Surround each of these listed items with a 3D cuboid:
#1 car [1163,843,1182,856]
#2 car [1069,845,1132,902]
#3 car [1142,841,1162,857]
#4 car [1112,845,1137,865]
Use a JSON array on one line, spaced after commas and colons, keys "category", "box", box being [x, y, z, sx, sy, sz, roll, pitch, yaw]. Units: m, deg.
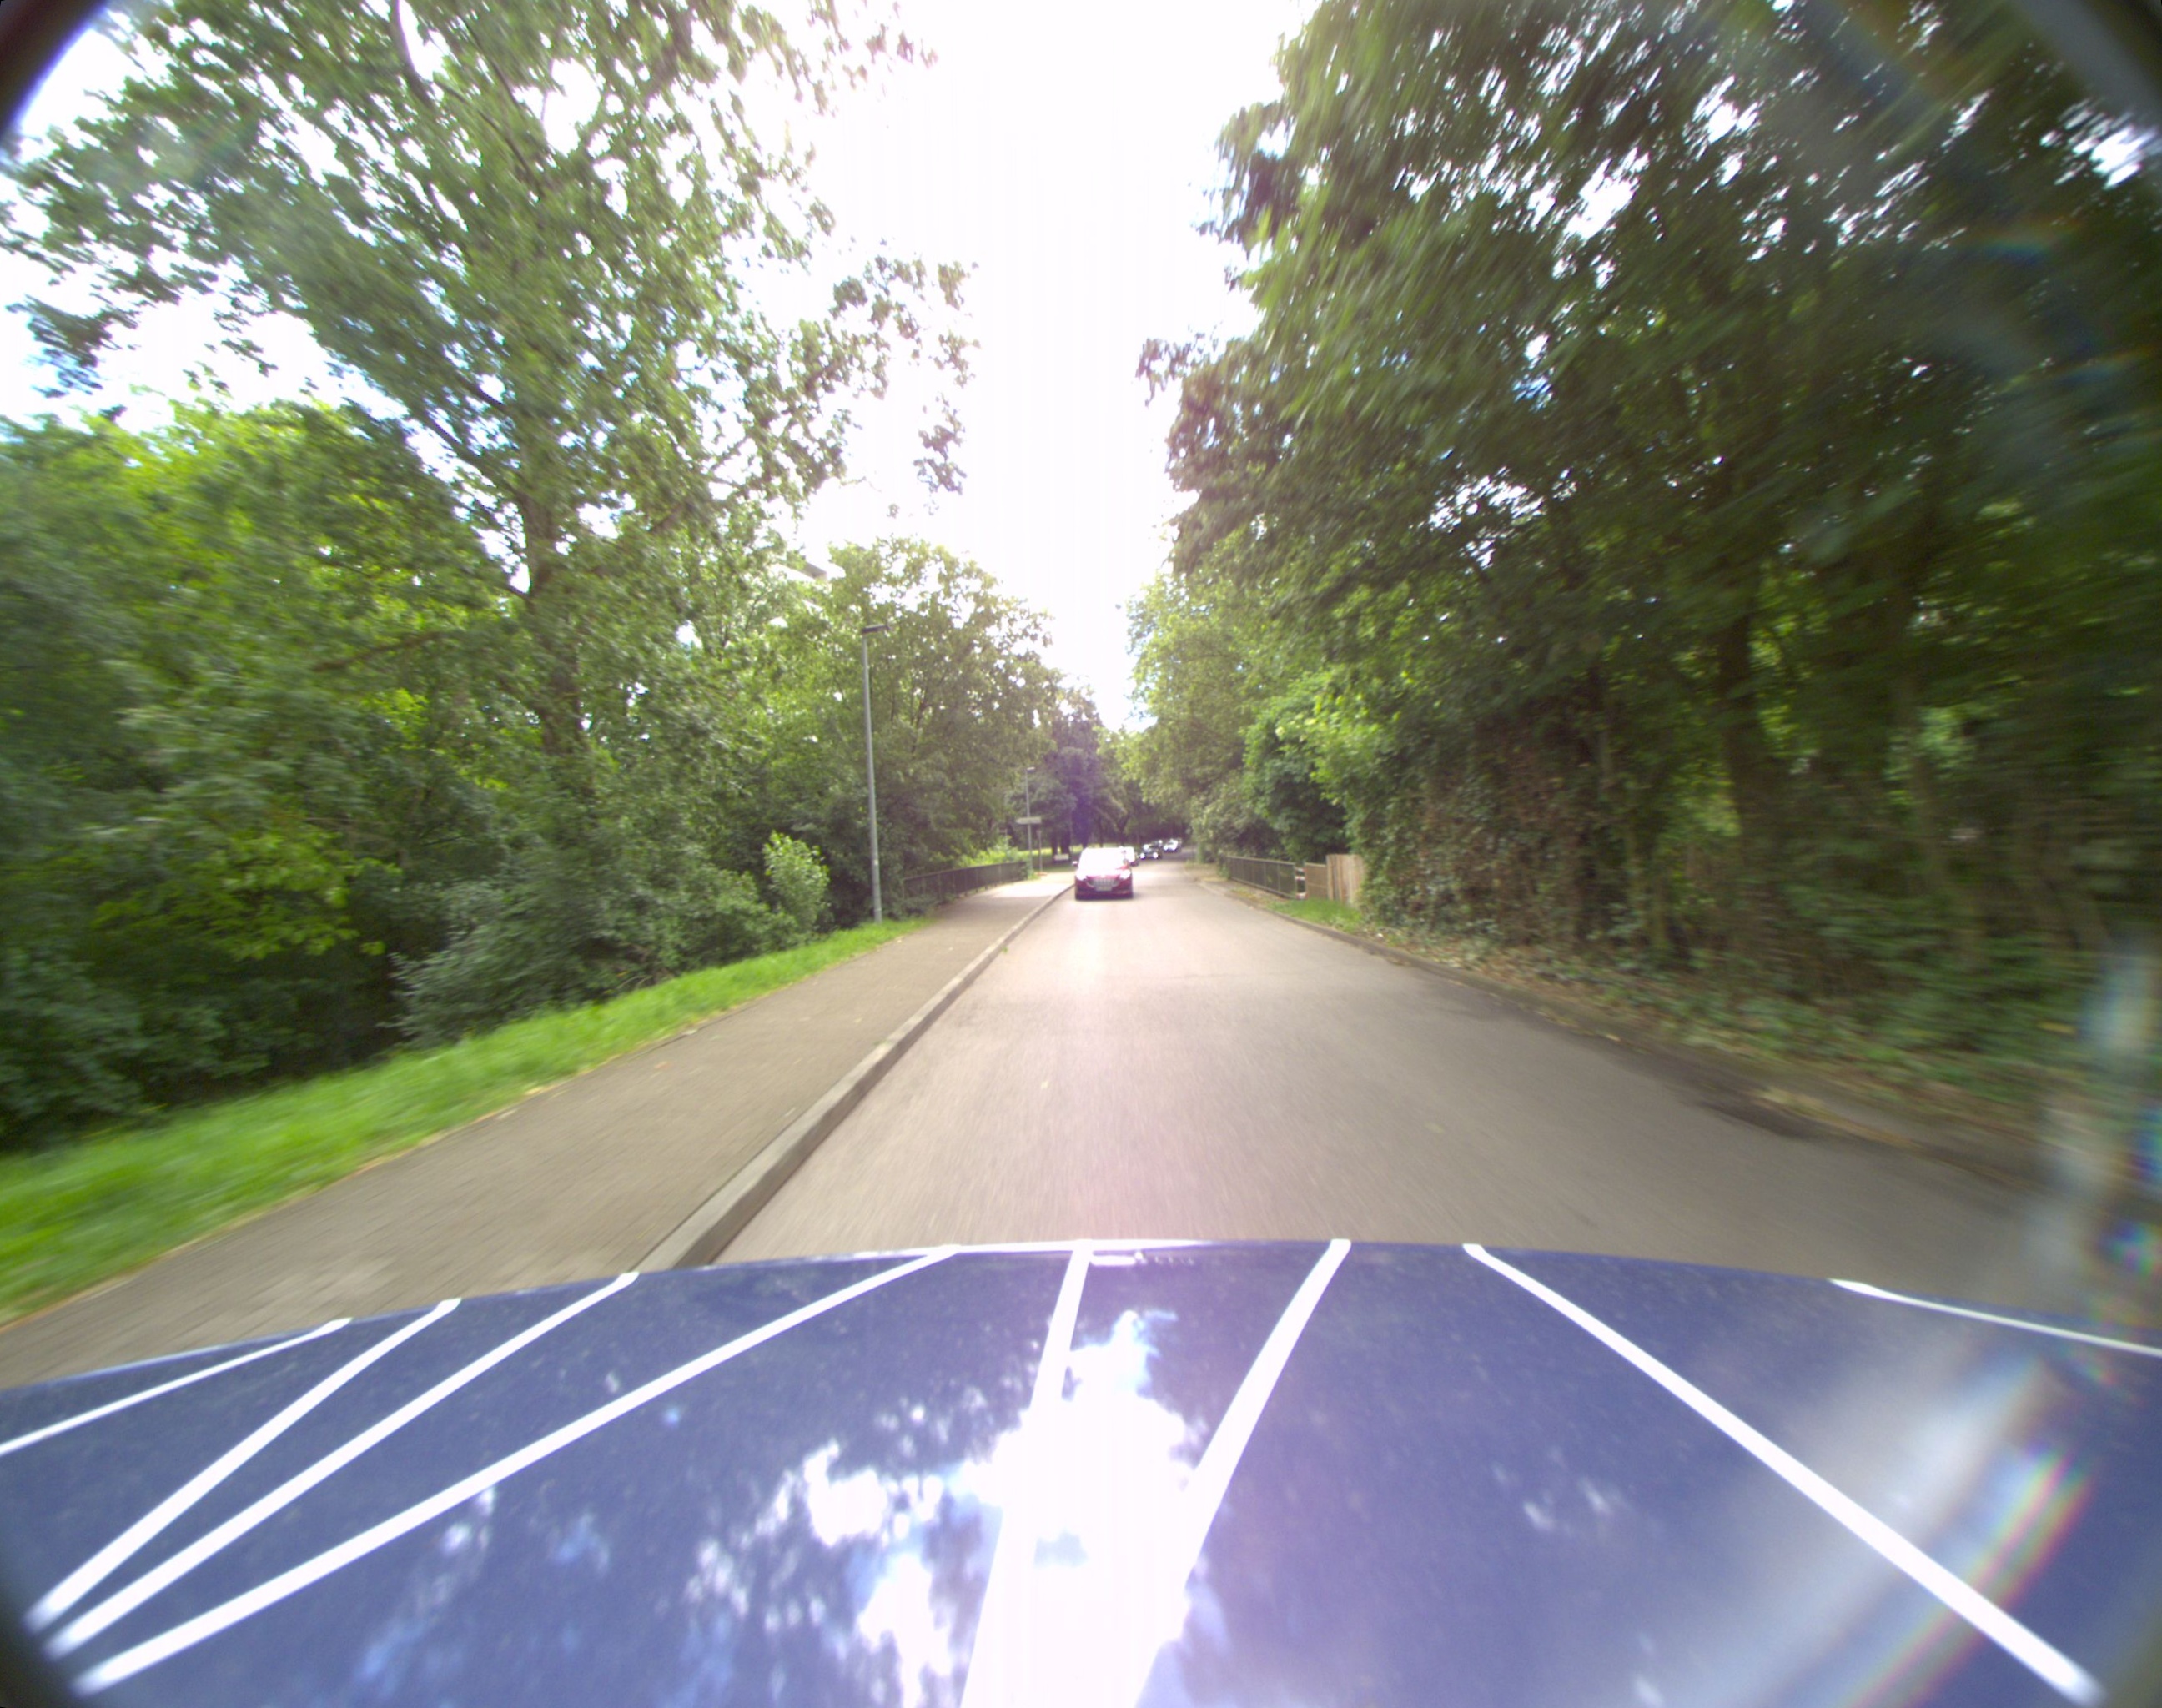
[{"category": "car", "box": [11.649, -0.629, 97.000, 1.997, 1.521, 4.003, -2, 1, 12]}, {"category": "car", "box": [0.735, 0.590, 25.393, 1.816, 1.717, 4.001, -1, 1, 5]}, {"category": "car", "box": [7.412, -0.534, 79.557, 1.998, 1.521, 4.001, -2, 1, 5]}, {"category": "car", "box": [3.707, 0.044, 64.069, 1.998, 1.521, 4.001, -2, 1, 5]}]
